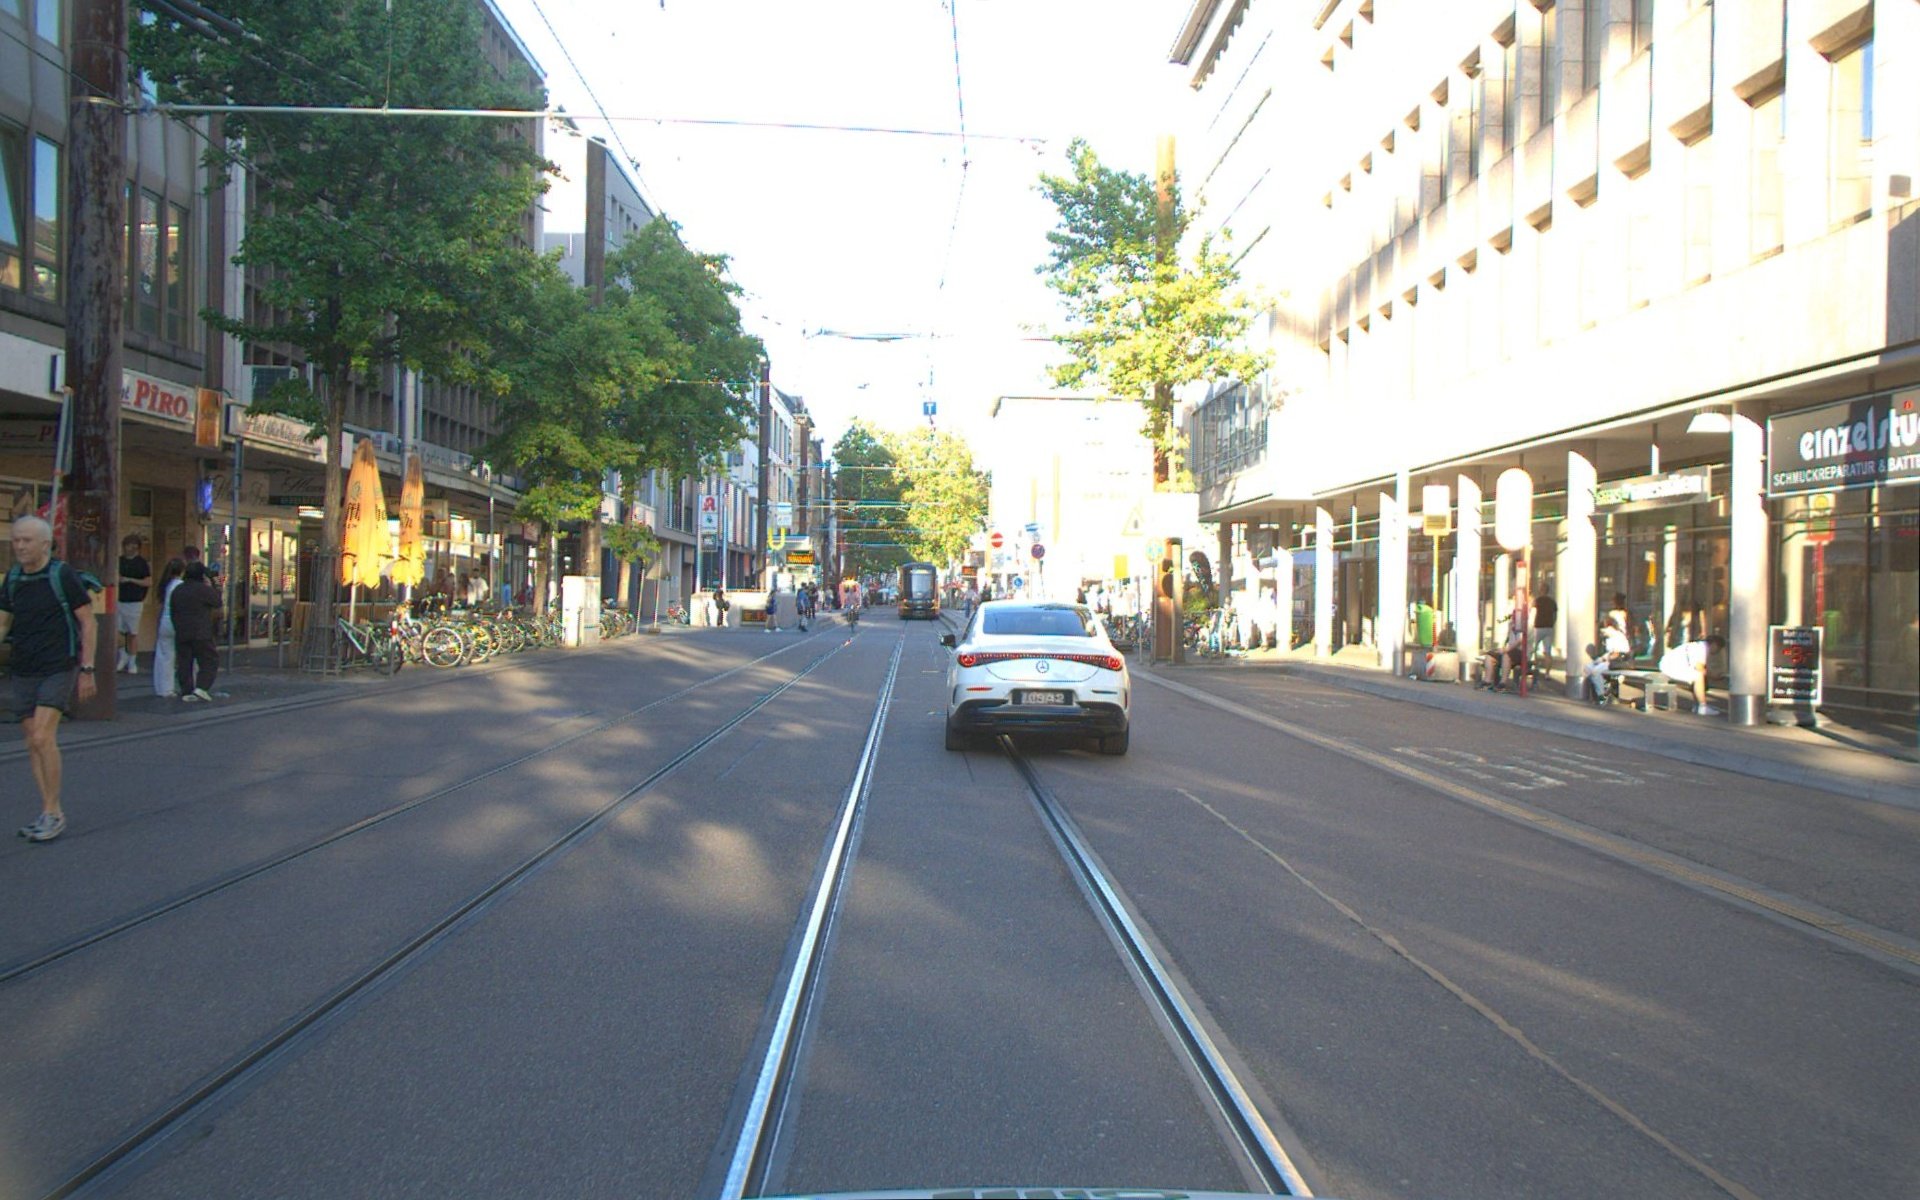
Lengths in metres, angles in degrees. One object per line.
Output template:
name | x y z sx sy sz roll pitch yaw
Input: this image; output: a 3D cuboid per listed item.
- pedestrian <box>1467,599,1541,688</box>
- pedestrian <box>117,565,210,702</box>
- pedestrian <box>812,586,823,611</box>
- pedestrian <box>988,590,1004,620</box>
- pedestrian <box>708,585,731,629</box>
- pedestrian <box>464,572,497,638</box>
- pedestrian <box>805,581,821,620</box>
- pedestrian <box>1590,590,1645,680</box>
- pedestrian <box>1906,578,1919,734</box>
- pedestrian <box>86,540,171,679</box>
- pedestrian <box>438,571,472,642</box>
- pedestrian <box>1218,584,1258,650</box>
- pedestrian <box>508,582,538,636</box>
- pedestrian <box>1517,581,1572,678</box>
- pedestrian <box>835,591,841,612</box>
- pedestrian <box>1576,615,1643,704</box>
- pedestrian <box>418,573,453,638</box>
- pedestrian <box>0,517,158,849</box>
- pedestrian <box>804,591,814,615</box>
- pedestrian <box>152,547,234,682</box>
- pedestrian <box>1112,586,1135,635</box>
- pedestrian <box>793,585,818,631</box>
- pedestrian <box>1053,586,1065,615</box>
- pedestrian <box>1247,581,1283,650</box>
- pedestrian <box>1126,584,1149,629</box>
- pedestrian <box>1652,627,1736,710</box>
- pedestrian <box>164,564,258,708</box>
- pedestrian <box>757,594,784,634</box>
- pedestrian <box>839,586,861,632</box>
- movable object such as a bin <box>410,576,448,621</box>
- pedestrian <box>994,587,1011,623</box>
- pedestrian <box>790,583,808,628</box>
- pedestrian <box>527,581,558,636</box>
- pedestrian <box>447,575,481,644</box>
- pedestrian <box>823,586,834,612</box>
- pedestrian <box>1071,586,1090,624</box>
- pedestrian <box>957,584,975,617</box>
pedestrian | 8.827 0.699 26.829 0.822 1.401 0.772 1 0 -24
pedestrian | -9.272 0.378 19.287 0.609 1.535 0.833 3 0 -1
pedestrian | -8.998 -0.095 104.271 0.647 1.627 0.573 0 0 -3
pedestrian | 2.264 0.294 103.236 0.941 1.816 0.803 -1 0 -2
pedestrian | -9.802 0.283 67.459 0.821 1.747 0.784 0 0 -3
pedestrian | -13.165 0.145 45.415 0.776 1.797 0.533 0 0 -26
pedestrian | -6.833 0.030 76.647 0.538 1.791 0.520 0 0 26
pedestrian | 11.737 0.616 29.536 0.629 1.568 0.796 1 0 -1
pedestrian | 11.016 0.632 18.158 0.729 1.730 0.857 1 0 -1
pedestrian | -11.351 0.122 22.608 0.609 1.835 0.933 3 0 -1
pedestrian | -12.778 0.160 41.838 0.705 1.797 0.679 0 0 -26
pedestrian | 7.716 0.472 45.925 0.882 1.775 0.689 -3 0 -2
pedestrian | -14.695 0.286 55.621 0.800 1.792 0.779 0 0 -4
pedestrian | 10.902 0.543 30.850 0.701 1.771 0.835 1 0 -1
pedestrian | -9.697 0.089 131.627 0.405 1.658 0.606 0 0 -1
pedestrian | 9.205 0.834 23.444 0.652 1.219 0.785 1 0 3
pedestrian | -12.894 0.125 40.682 0.700 1.574 0.683 0 0 -8
pedestrian | -5.300 0.454 9.609 0.824 1.832 0.790 2 0 -1
pedestrian | -10.237 0.194 112.152 0.647 1.627 0.573 0 0 -3
pedestrian | -10.517 0.192 22.702 0.609 1.778 0.933 3 0 -1
pedestrian | 6.080 0.382 61.469 0.733 1.816 0.766 -1 0 -2
pedestrian | -5.974 0.308 63.858 0.886 1.728 0.848 0 0 -1
pedestrian | 6.351 0.022 106.415 0.712 1.817 0.707 1 0 -2
pedestrian | 8.399 0.413 45.599 0.687 1.844 1.033 -3 0 -2
pedestrian | 7.367 0.265 68.708 0.824 1.816 0.803 -1 0 -2
pedestrian | 9.728 0.898 21.945 0.818 1.049 0.696 1 0 3
pedestrian | -8.535 0.401 18.875 0.609 1.577 0.852 3 0 -1
pedestrian | -7.211 0.533 62.974 0.936 1.522 0.944 0 0 -1
pedestrian | -4.382 0.365 66.127 0.784 1.813 0.848 2 0 -3
movable object such as a bin | -12.785 -0.039 39.860 0.700 1.057 0.980 0 0 -7
pedestrian | 2.004 0.240 78.554 0.731 1.728 0.840 0 0 -4
pedestrian | -6.963 0.238 71.579 0.531 1.963 0.569 0 0 42
pedestrian | -13.813 0.275 54.729 0.718 1.792 0.808 0 0 -36
pedestrian | -12.182 0.225 40.625 0.700 1.668 0.683 0 0 -8
pedestrian | -8.303 -0.083 104.370 0.647 1.627 0.573 0 0 -3
pedestrian | 5.495 0.230 75.294 0.820 1.691 0.785 0 0 0
pedestrian | 0.339 0.028 92.463 0.941 1.816 0.803 -1 0 -2
